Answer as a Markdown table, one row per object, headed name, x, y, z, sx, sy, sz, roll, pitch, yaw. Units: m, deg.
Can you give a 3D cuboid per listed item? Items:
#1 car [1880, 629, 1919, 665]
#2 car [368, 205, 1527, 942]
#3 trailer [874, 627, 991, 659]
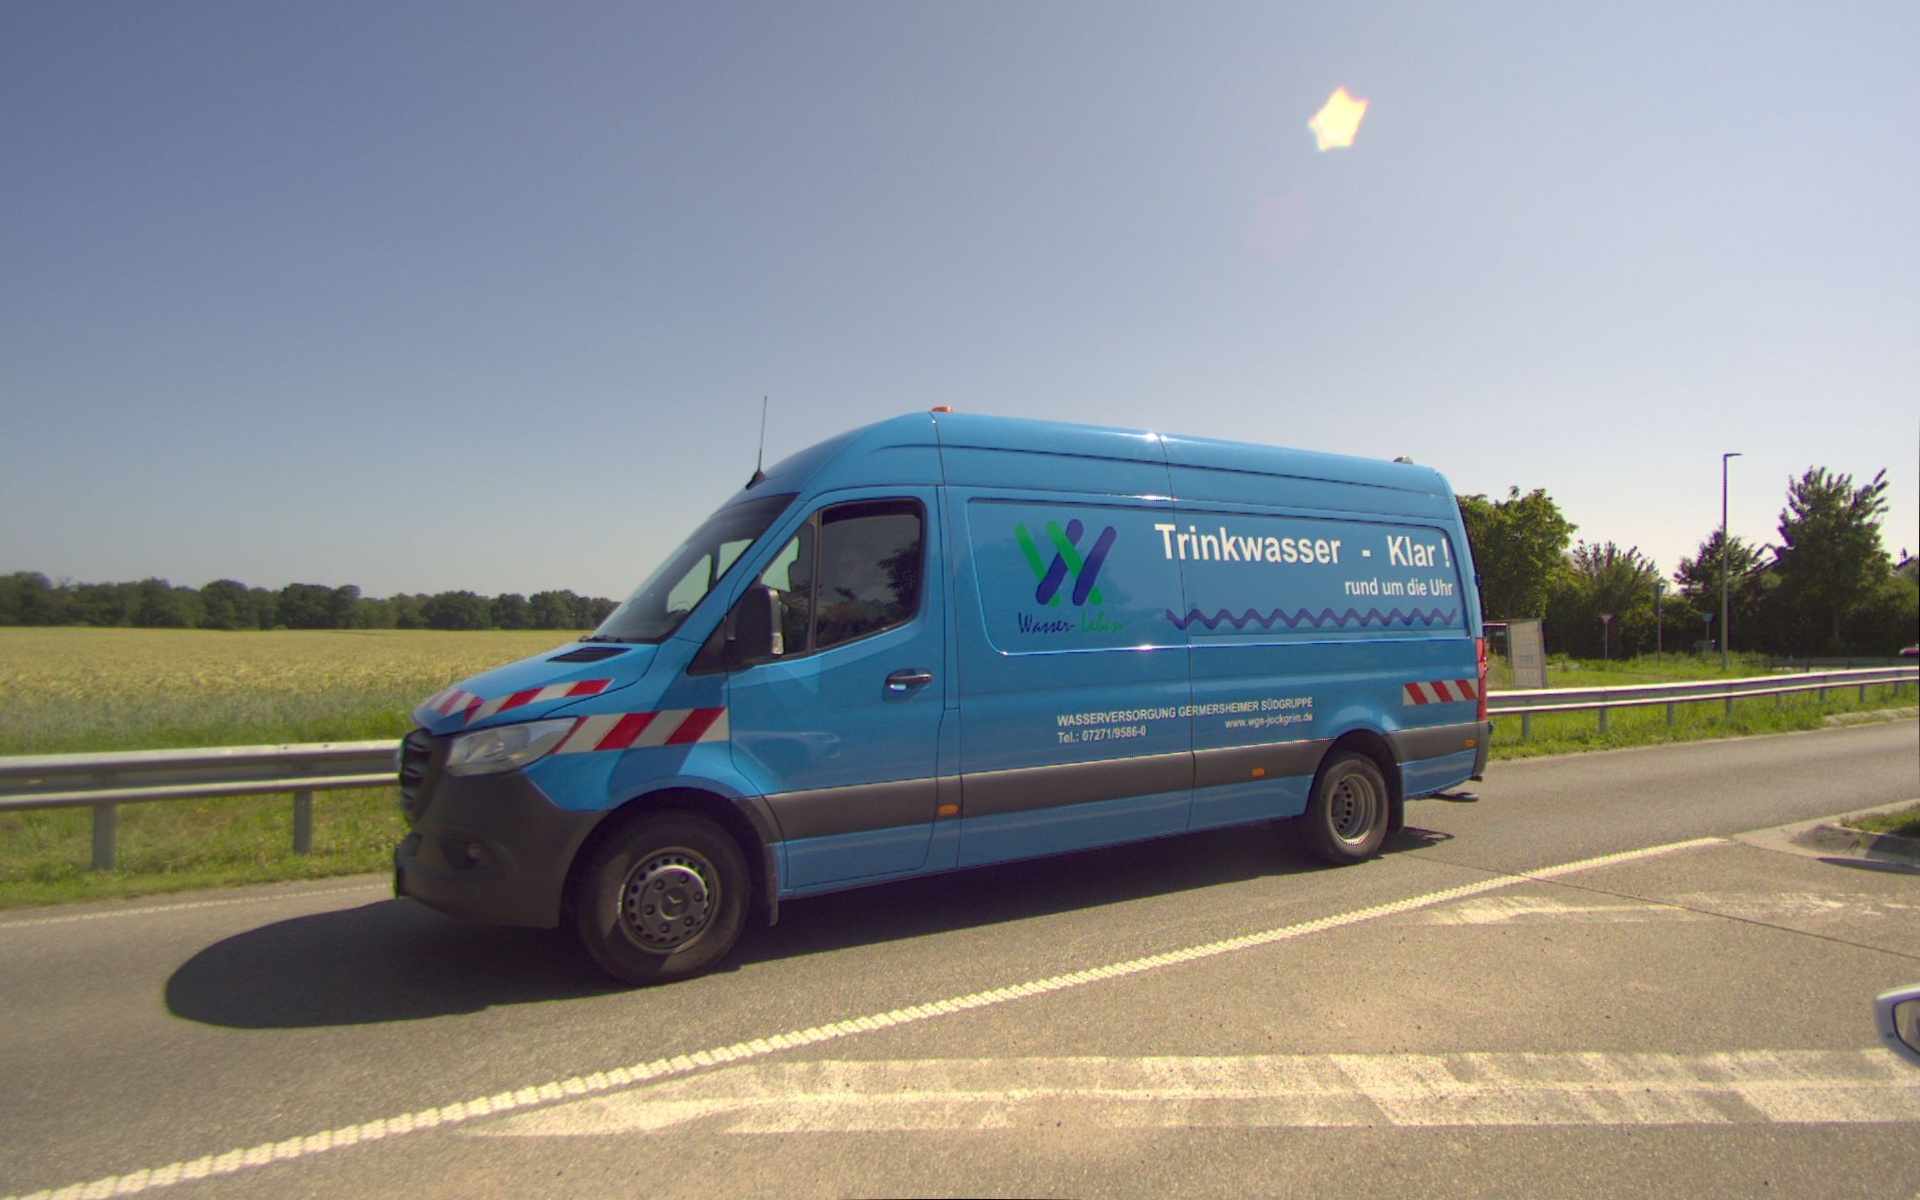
| name | x | y | z | sx | sy | sz | roll | pitch | yaw |
| --- | --- | --- | --- | --- | --- | --- | --- | --- | --- |
| car | 42.888 | 2.086 | 44.342 | 3.771 | 1.542 | 1.743 | 1 | -3 | -18 |
| car | 0.526 | 0.080 | 6.312 | 7.207 | 2.645 | 1.984 | 3 | -4 | -31 |
| trailer | -2.477 | 3.724 | 87.430 | 10.291 | 2.308 | 1.999 | 1 | -1 | 24 |
